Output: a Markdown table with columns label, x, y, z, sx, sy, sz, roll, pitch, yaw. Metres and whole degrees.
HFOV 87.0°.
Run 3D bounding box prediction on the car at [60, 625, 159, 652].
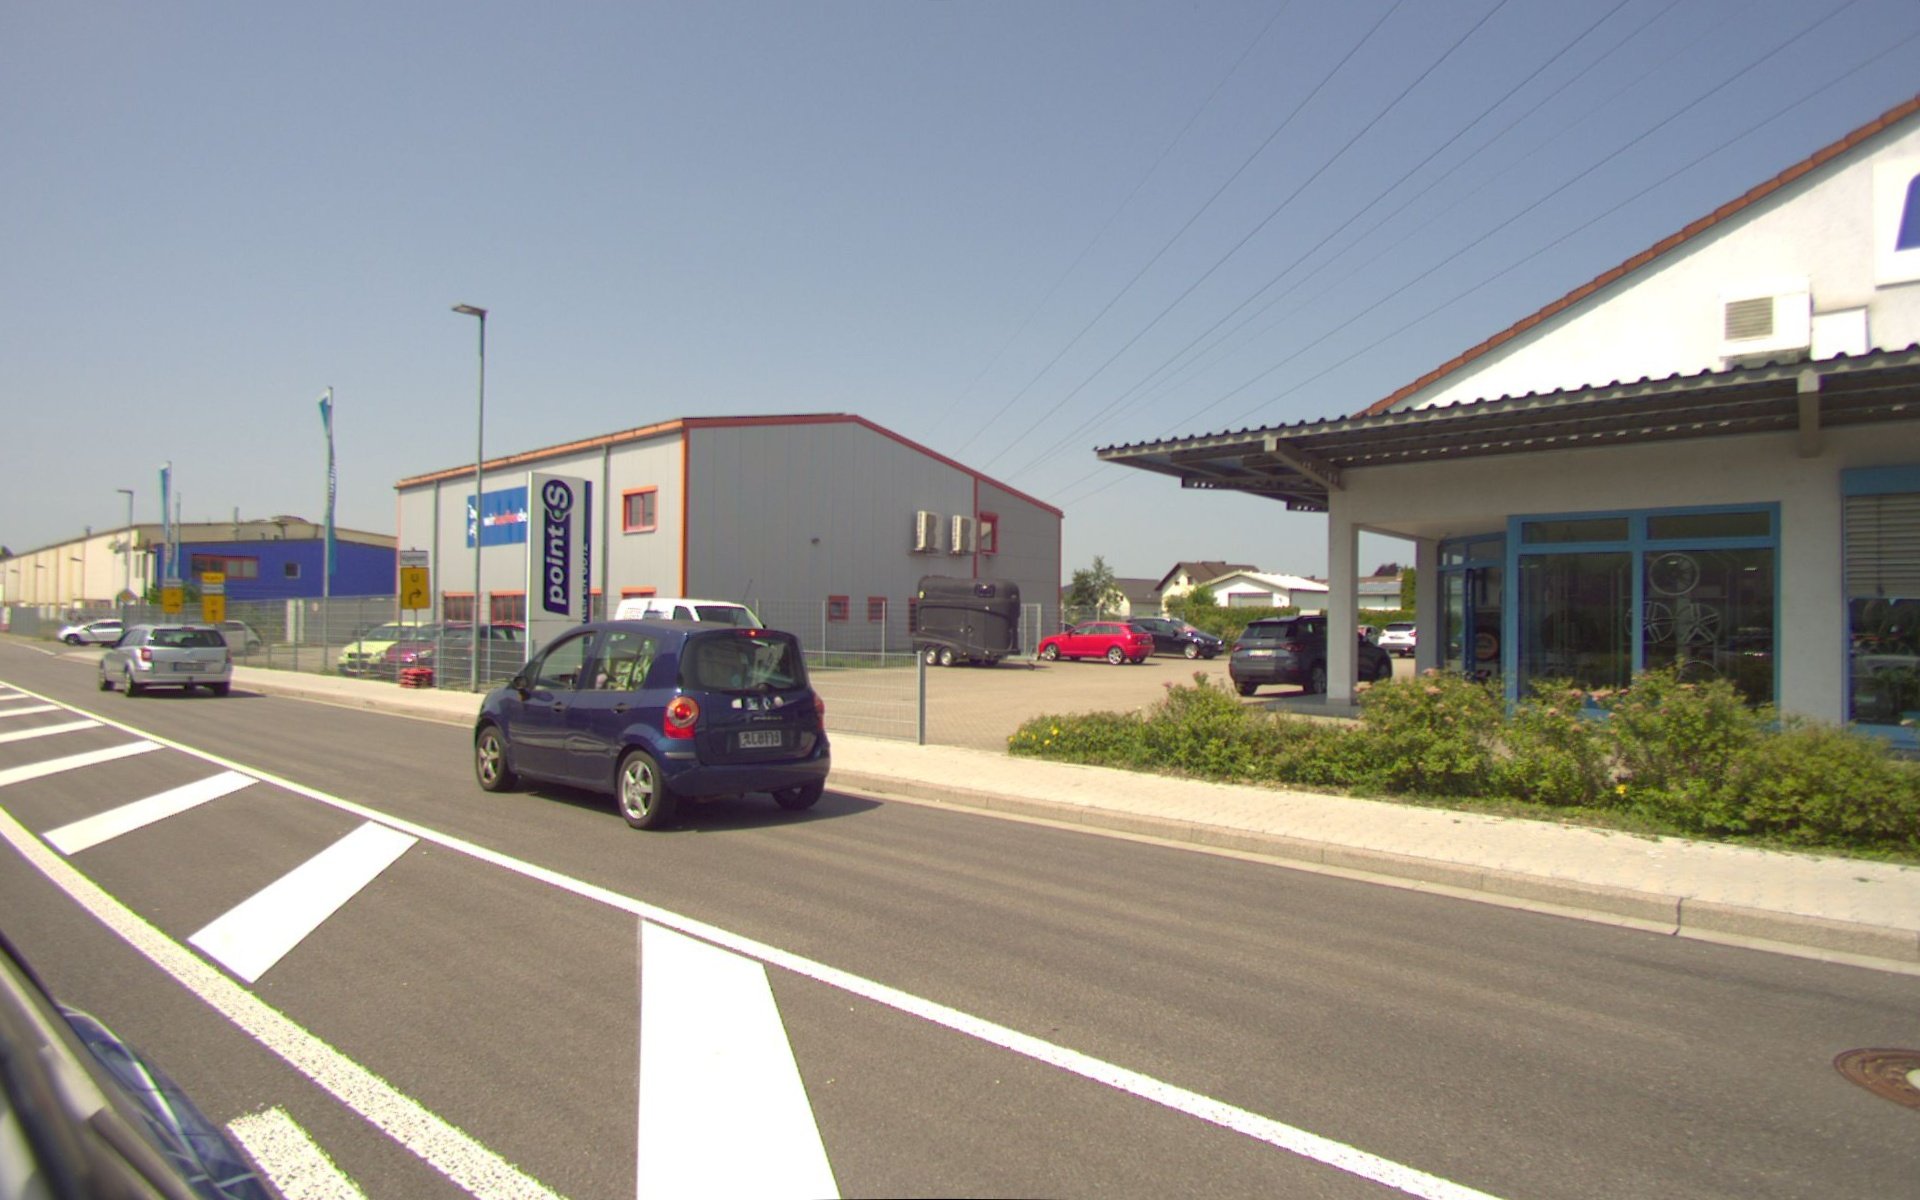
| label | x | y | z | sx | sy | sz | roll | pitch | yaw |
| --- | --- | --- | --- | --- | --- | --- | --- | --- | --- |
| car | -49.241 | 2.229 | 58.716 | 4.090 | 1.514 | 1.780 | 1 | -2 | -28 |

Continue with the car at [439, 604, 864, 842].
| label | x | y | z | sx | sy | sz | roll | pitch | yaw |
| --- | --- | --- | --- | --- | --- | --- | --- | --- | --- |
| car | -2.821 | 0.910 | 8.816 | 3.971 | 1.612 | 1.651 | -1 | -4 | 41 |

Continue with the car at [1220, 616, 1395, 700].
| label | x | y | z | sx | sy | sz | roll | pitch | yaw |
| --- | --- | --- | --- | --- | --- | --- | --- | --- | --- |
| car | 6.976 | 1.120 | 20.121 | 1.785 | 1.497 | 3.942 | -2 | -3 | 44 |

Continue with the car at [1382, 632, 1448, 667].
| label | x | y | z | sx | sy | sz | roll | pitch | yaw |
| --- | --- | --- | --- | --- | --- | --- | --- | --- | --- |
| car | 20.144 | 2.170 | 44.775 | 1.781 | 1.459 | 3.949 | -1 | -3 | 38 |

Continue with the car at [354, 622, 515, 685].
| label | x | y | z | sx | sy | sz | roll | pitch | yaw |
| --- | --- | --- | --- | --- | --- | --- | --- | --- | --- |
| car | -13.553 | 1.336 | 26.394 | 1.724 | 1.505 | 3.989 | 0 | -2 | 8 |

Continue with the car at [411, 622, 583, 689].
| label | x | y | z | sx | sy | sz | roll | pitch | yaw |
| --- | --- | --- | --- | --- | --- | --- | --- | --- | --- |
| car | -11.325 | 1.307 | 25.043 | 1.728 | 1.505 | 3.980 | 0 | -2 | 15 |

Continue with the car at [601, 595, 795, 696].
| label | x | y | z | sx | sy | sz | roll | pitch | yaw |
| --- | --- | --- | --- | --- | --- | --- | --- | --- | --- |
| car | -5.985 | 0.966 | 22.789 | 4.680 | 2.029 | 1.972 | 0 | -2 | 42 |

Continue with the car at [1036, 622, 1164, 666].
| label | x | y | z | sx | sy | sz | roll | pitch | yaw |
| --- | --- | --- | --- | --- | --- | --- | --- | --- | --- |
| car | 4.836 | 1.530 | 35.339 | 4.191 | 1.459 | 1.759 | -2 | -3 | 41 |

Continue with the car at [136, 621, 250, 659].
| label | x | y | z | sx | sy | sz | roll | pitch | yaw |
| --- | --- | --- | --- | --- | --- | --- | --- | --- | --- |
| car | -31.185 | 1.625 | 41.246 | 1.576 | 1.476 | 3.469 | 0 | -2 | 16 |

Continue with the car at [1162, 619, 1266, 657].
| label | x | y | z | sx | sy | sz | roll | pitch | yaw |
| --- | --- | --- | --- | --- | --- | --- | --- | --- | --- |
| car | 11.261 | 1.692 | 45.037 | 4.191 | 1.627 | 1.759 | -2 | -3 | 41 |

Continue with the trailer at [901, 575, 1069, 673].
| label | x | y | z | sx | sy | sz | roll | pitch | yaw |
| --- | --- | --- | --- | --- | --- | --- | --- | --- | --- |
| trailer | 0.720 | 0.716 | 32.015 | 5.122 | 2.870 | 2.140 | 0 | -1 | 41 |

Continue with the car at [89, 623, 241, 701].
| label | x | y | z | sx | sy | sz | roll | pitch | yaw |
| --- | --- | --- | --- | --- | --- | --- | --- | --- | --- |
| car | -16.828 | 1.267 | 21.343 | 4.257 | 1.477 | 1.745 | -1 | -4 | 42 |

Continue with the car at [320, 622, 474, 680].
| label | x | y | z | sx | sy | sz | roll | pitch | yaw |
| --- | --- | --- | --- | --- | --- | --- | --- | --- | --- |
| car | -15.478 | 1.366 | 28.076 | 1.722 | 1.505 | 4.086 | 0 | -2 | 6 |

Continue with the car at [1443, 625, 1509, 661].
| label | x | y | z | sx | sy | sz | roll | pitch | yaw |
| --- | --- | --- | --- | --- | --- | --- | --- | --- | --- |
| car | 21.990 | 1.833 | 43.092 | 1.781 | 1.459 | 3.949 | -1 | -3 | 38 |

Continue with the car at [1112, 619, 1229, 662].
| label | x | y | z | sx | sy | sz | roll | pitch | yaw |
| --- | --- | --- | --- | --- | --- | --- | --- | --- | --- |
| car | 8.241 | 1.581 | 39.842 | 4.191 | 1.627 | 1.759 | -2 | -3 | 41 |
